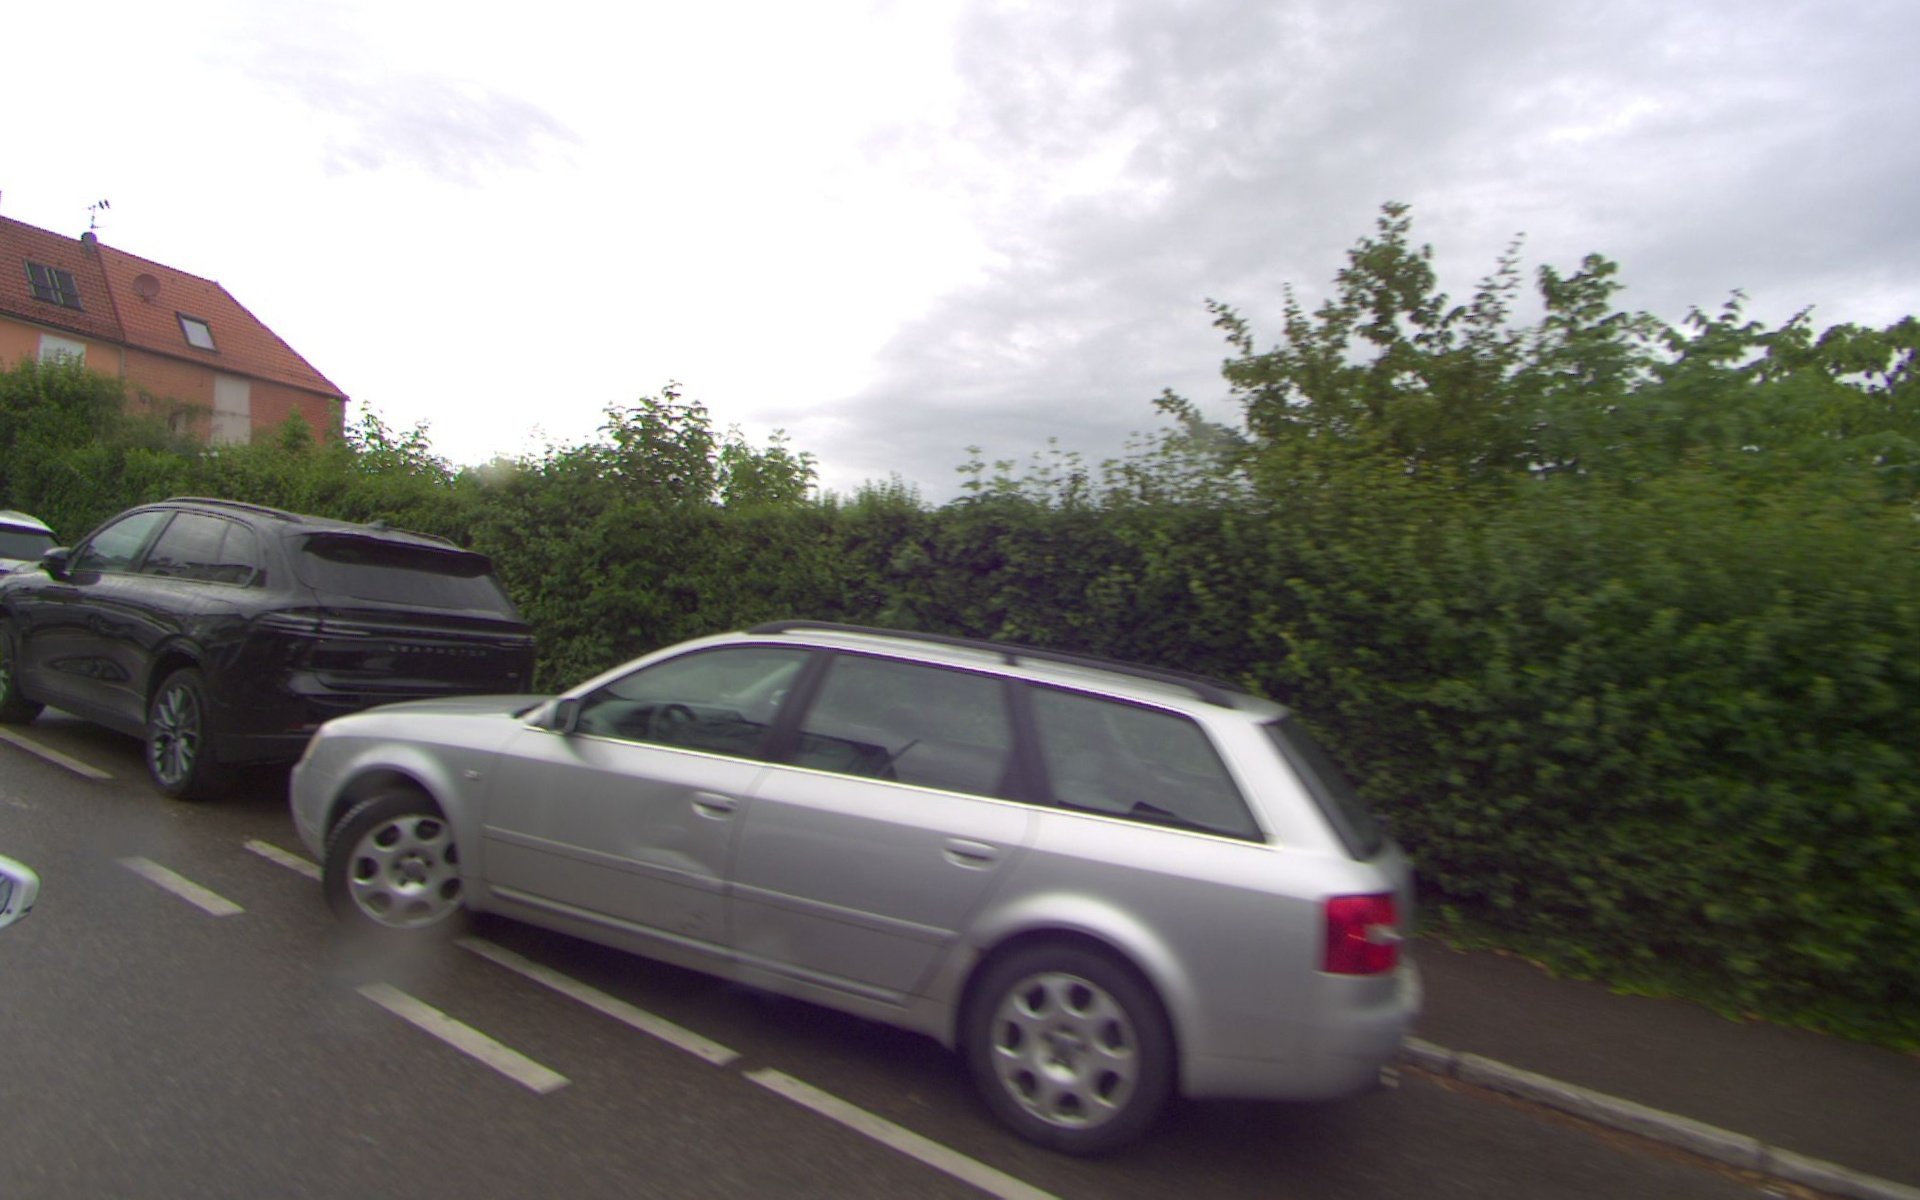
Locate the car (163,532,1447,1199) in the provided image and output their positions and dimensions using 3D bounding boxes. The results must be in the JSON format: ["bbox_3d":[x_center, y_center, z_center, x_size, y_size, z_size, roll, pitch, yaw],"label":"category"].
[{"bbox_3d":[-0.695,0.786,4.211,4.555,1.457,1.806,8,0,18],"label":"car"}]

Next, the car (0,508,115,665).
[{"bbox_3d":[-11.077,-0.359,10.703,4.530,1.422,1.716,7,-1,31],"label":"car"}]

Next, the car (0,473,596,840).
[{"bbox_3d":[-4.904,0.221,6.994,4.471,1.682,1.891,7,-1,30],"label":"car"}]
